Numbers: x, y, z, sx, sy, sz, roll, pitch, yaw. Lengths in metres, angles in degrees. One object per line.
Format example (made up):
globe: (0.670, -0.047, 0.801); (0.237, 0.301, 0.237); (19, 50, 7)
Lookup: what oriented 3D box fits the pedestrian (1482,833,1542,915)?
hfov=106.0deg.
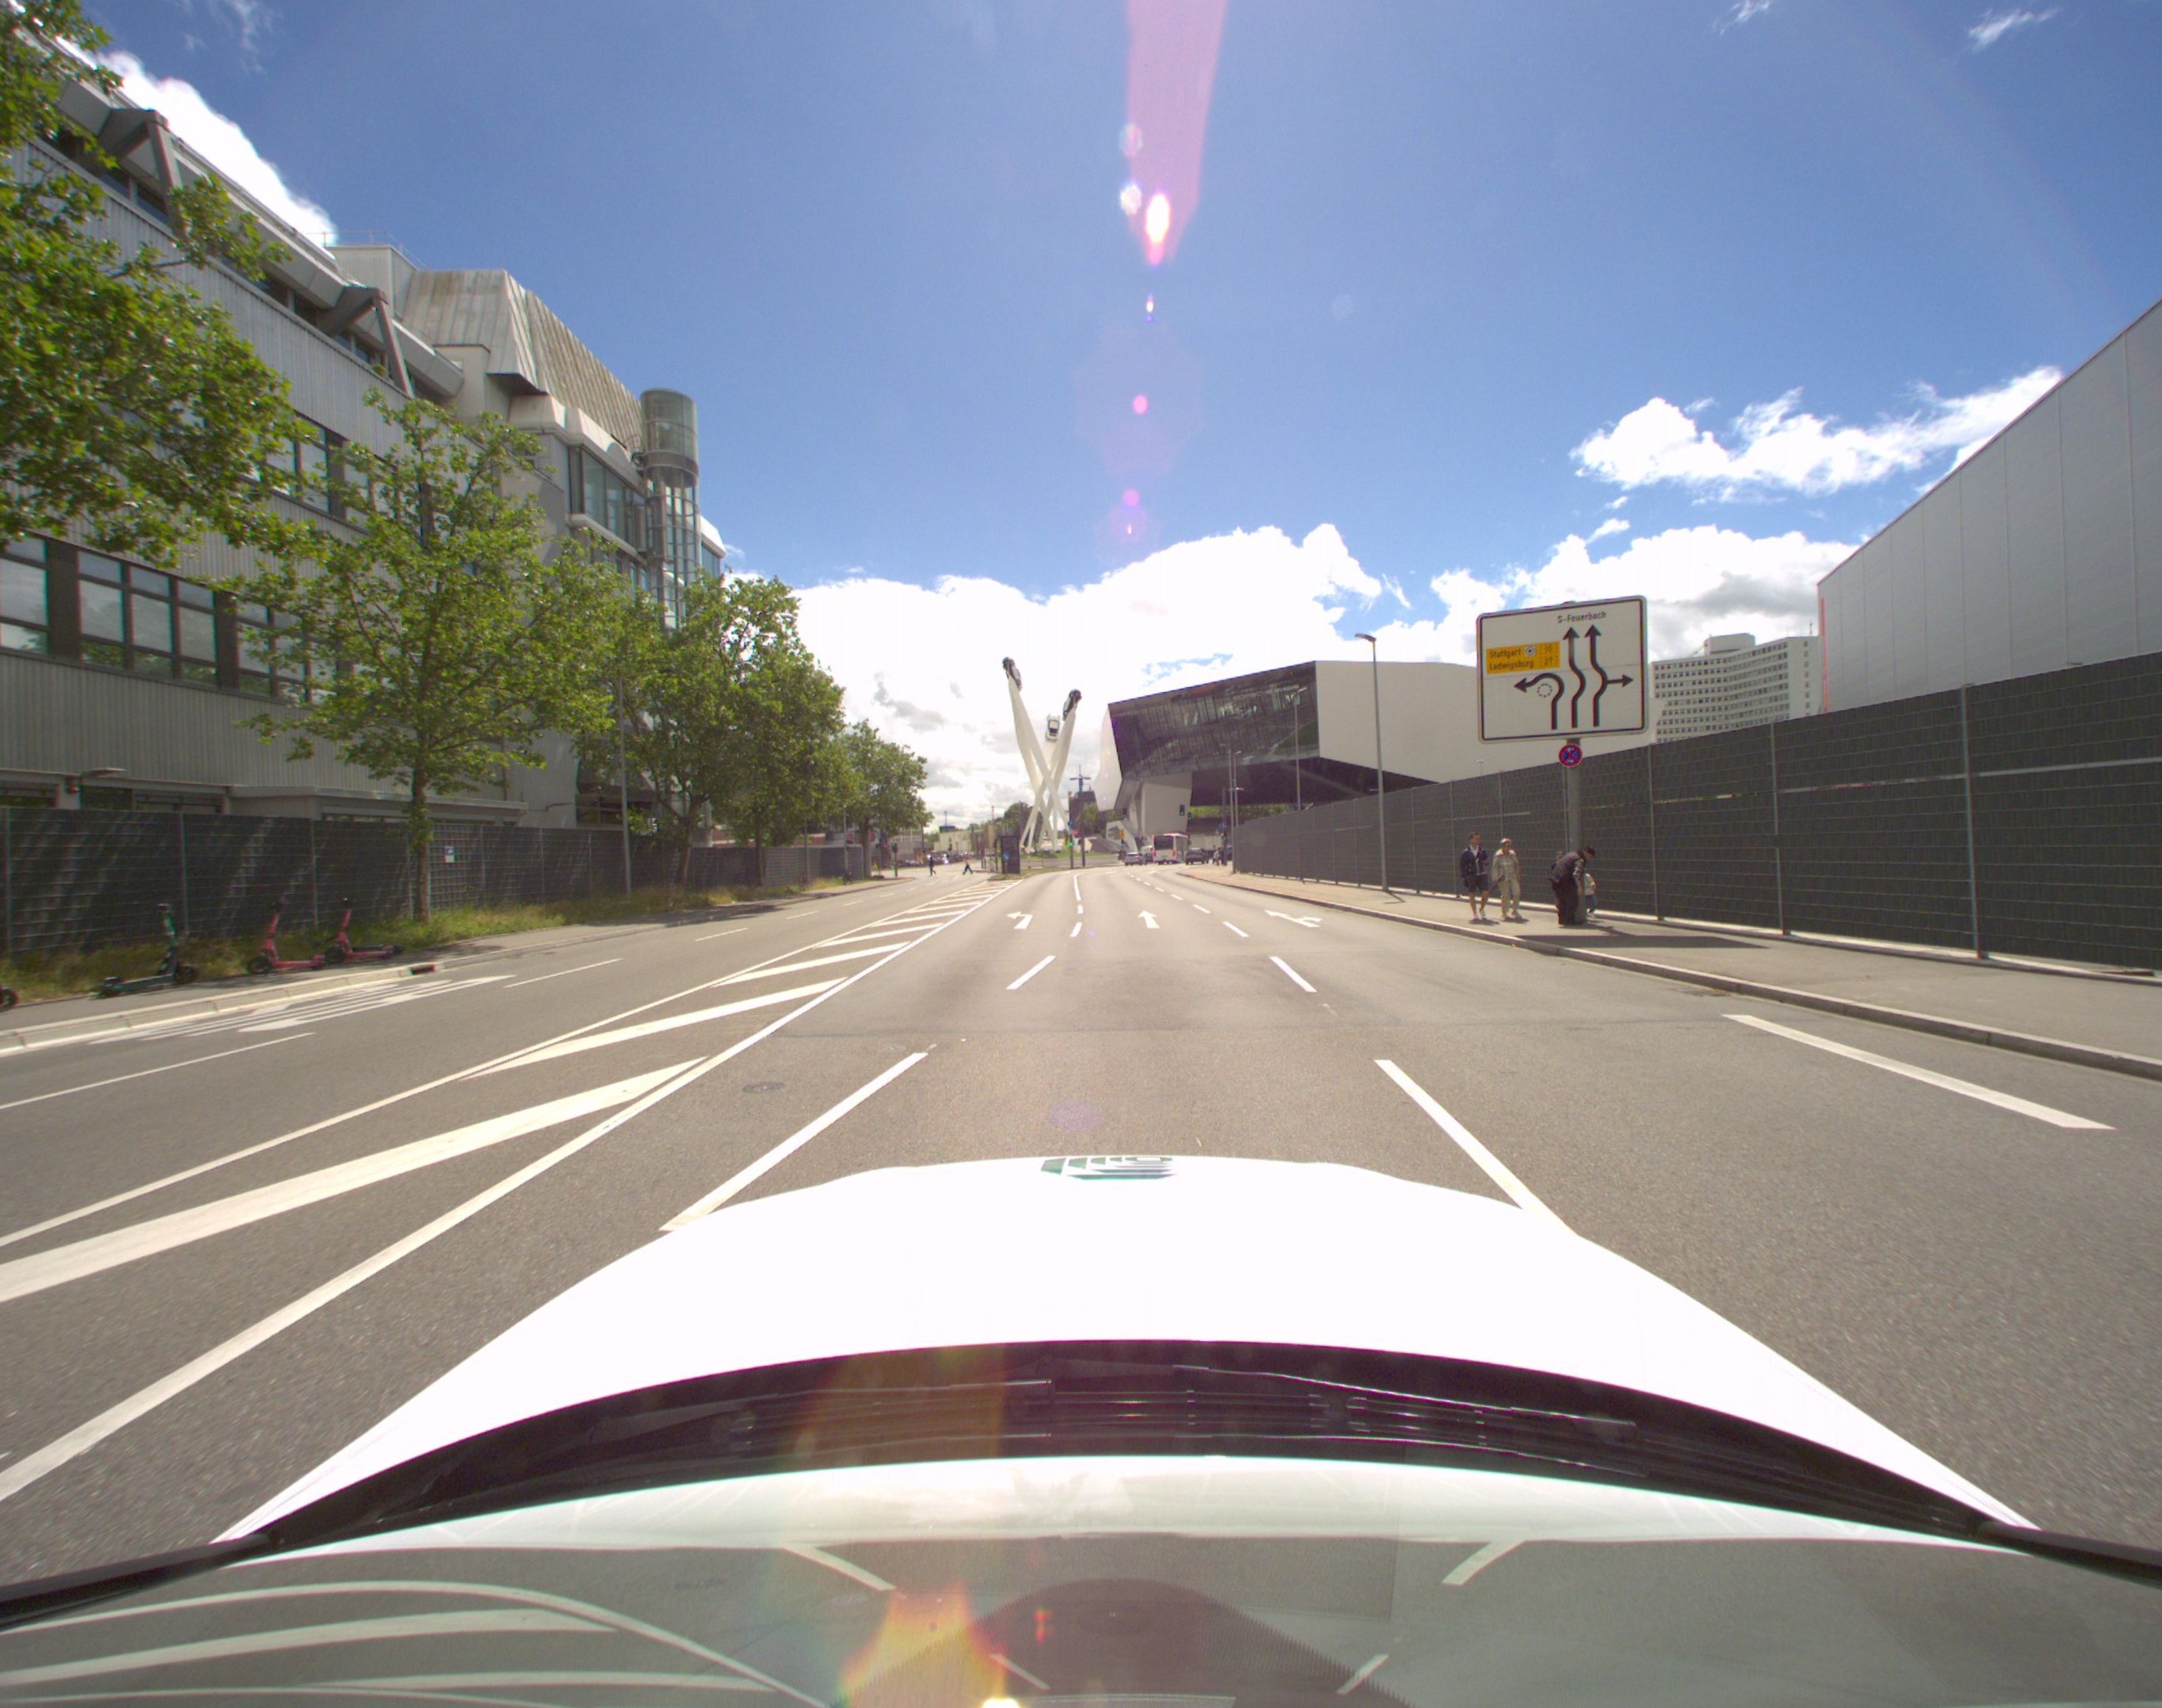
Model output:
pedestrian: (8.616, 0.401, 16.307); (0.792, 1.597, 0.731); (-1, -1, -2)

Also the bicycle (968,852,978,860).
bicycle: (-19.239, 0.372, 144.976); (1.601, 1.382, 0.492); (-1, -1, -2)

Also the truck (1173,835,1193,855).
truck: (13.543, -1.200, 108.735); (2.199, 2.516, 5.135); (-1, -1, 2)

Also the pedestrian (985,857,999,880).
pedestrian: (-8.017, 1.297, 73.562); (0.944, 2.055, 0.955); (-1, -1, 18)

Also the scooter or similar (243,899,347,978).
scooter or similar: (-13.772, 1.451, 14.313); (0.521, 1.234, 1.318); (1, 1, 1)

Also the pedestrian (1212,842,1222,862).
pedestrian: (12.941, -0.180, 77.735); (0.660, 1.866, 0.789); (0, -1, -15)

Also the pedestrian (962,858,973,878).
pedestrian: (-10.068, 1.208, 72.234); (0.864, 1.774, 1.030); (-1, -1, -14)

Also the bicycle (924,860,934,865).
bicycle: (-25.554, 1.468, 136.925); (1.590, 0.866, 0.496); (-1, -1, 33)

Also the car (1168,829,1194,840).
car: (18.234, -3.605, 148.476); (2.012, 1.394, 4.459); (-7, 11, -44)

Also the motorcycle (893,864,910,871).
motorcycle: (-31.807, 2.322, 144.073); (2.880, 1.196, 0.924); (-1, -1, 17)

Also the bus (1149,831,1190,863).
bus: (10.241, -0.687, 92.764); (3.050, 3.362, 12.266); (-1, -1, 13)

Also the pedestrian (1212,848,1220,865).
pedestrian: (12.250, 0.226, 73.935); (0.655, 1.608, 0.825); (-1, -1, 10)

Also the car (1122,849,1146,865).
car: (5.849, 0.322, 89.062); (1.980, 1.637, 4.013); (-1, -1, 12)

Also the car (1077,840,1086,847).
car: (0.129, -2.460, 196.085); (1.986, 1.635, 4.657); (-1, 1, 1)

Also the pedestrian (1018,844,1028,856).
pedestrian: (-7.496, -0.469, 105.282); (0.845, 1.407, 0.970); (-8, -4, 21)

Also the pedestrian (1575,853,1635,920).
pedestrian: (9.629, 0.594, 14.980); (0.711, 1.207, 0.599); (-1, -1, 3)

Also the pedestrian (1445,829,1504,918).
pedestrian: (7.807, 0.379, 16.176); (0.792, 1.721, 0.731); (-1, -1, -2)

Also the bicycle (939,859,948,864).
bicycle: (-23.764, 1.346, 140.892); (0.486, 0.866, 1.621); (-1, -1, 34)

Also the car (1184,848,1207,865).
car: (11.491, 0.250, 81.812); (1.980, 1.636, 4.014); (-1, 1, 12)

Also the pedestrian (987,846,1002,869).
pedestrian: (-7.931, 0.307, 74.680); (0.944, 2.055, 0.955); (-1, -1, 18)

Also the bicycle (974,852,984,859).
bicycle: (-19.135, 0.268, 152.515); (1.733, 1.182, 0.669); (-1, 1, -2)

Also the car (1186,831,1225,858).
car: (16.791, -1.202, 110.452); (3.328, 3.504, 9.329); (-1, -1, -3)

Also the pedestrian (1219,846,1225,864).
pedestrian: (13.280, 0.101, 76.841); (0.462, 1.616, 0.663); (-1, -1, 2)

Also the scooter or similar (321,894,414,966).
scooter or similar: (-13.718, 1.435, 15.695); (0.520, 1.234, 1.320); (1, 1, 6)

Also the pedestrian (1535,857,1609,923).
pedestrian: (8.848, 0.641, 14.722); (0.754, 1.149, 0.972); (-1, -1, 2)

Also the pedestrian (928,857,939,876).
pedestrian: (-13.574, 1.127, 74.997); (0.864, 1.774, 1.030); (-1, -1, -14)

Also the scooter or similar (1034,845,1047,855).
scooter or similar: (-4.625, -0.418, 93.699); (1.396, 1.025, 0.550); (-4, 6, -2)

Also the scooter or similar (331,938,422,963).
scooter or similar: (-14.224, 1.942, 16.483); (0.532, 0.322, 1.280); (-1, 1, 24)

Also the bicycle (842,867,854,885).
bicycle: (-14.969, 1.390, 52.394); (0.295, 1.131, 1.485); (-1, -1, 3)

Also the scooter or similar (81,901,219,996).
scooter or similar: (-13.781, 1.364, 12.105); (0.521, 1.234, 1.317); (1, 1, -1)

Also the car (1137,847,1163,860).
car: (9.945, -0.061, 117.894); (2.004, 1.904, 3.966); (0, -1, -25)

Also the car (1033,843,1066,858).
car: (-4.767, -0.523, 123.725); (4.615, 2.171, 2.004); (-1, -1, 7)

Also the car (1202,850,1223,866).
car: (14.115, 0.470, 87.212); (1.980, 1.637, 4.013); (-1, -1, 12)

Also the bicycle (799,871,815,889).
bicycle: (-15.467, 1.448, 45.953); (0.294, 1.006, 1.255); (-1, -1, 10)

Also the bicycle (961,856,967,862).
bicycle: (-20.276, 0.912, 140.745); (0.488, 0.866, 1.616); (-2, 2, 10)

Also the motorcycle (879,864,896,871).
motorcycle: (-33.418, 2.305, 140.640); (2.880, 1.196, 0.924); (-1, -1, 17)

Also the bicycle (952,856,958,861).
bicycle: (-22.696, 0.791, 146.907); (0.488, 0.866, 1.616); (-2, 2, 10)

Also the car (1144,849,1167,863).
car: (9.388, 0.254, 102.627); (1.978, 1.637, 4.018); (-1, -1, 18)

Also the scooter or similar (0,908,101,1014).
scooter or similar: (-13.797, 1.377, 10.578); (0.521, 1.234, 1.317); (1, 1, -1)

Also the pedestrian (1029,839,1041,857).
pedestrian: (-5.303, -0.705, 93.594); (1.279, 1.816, 0.985); (-5, 4, -4)
